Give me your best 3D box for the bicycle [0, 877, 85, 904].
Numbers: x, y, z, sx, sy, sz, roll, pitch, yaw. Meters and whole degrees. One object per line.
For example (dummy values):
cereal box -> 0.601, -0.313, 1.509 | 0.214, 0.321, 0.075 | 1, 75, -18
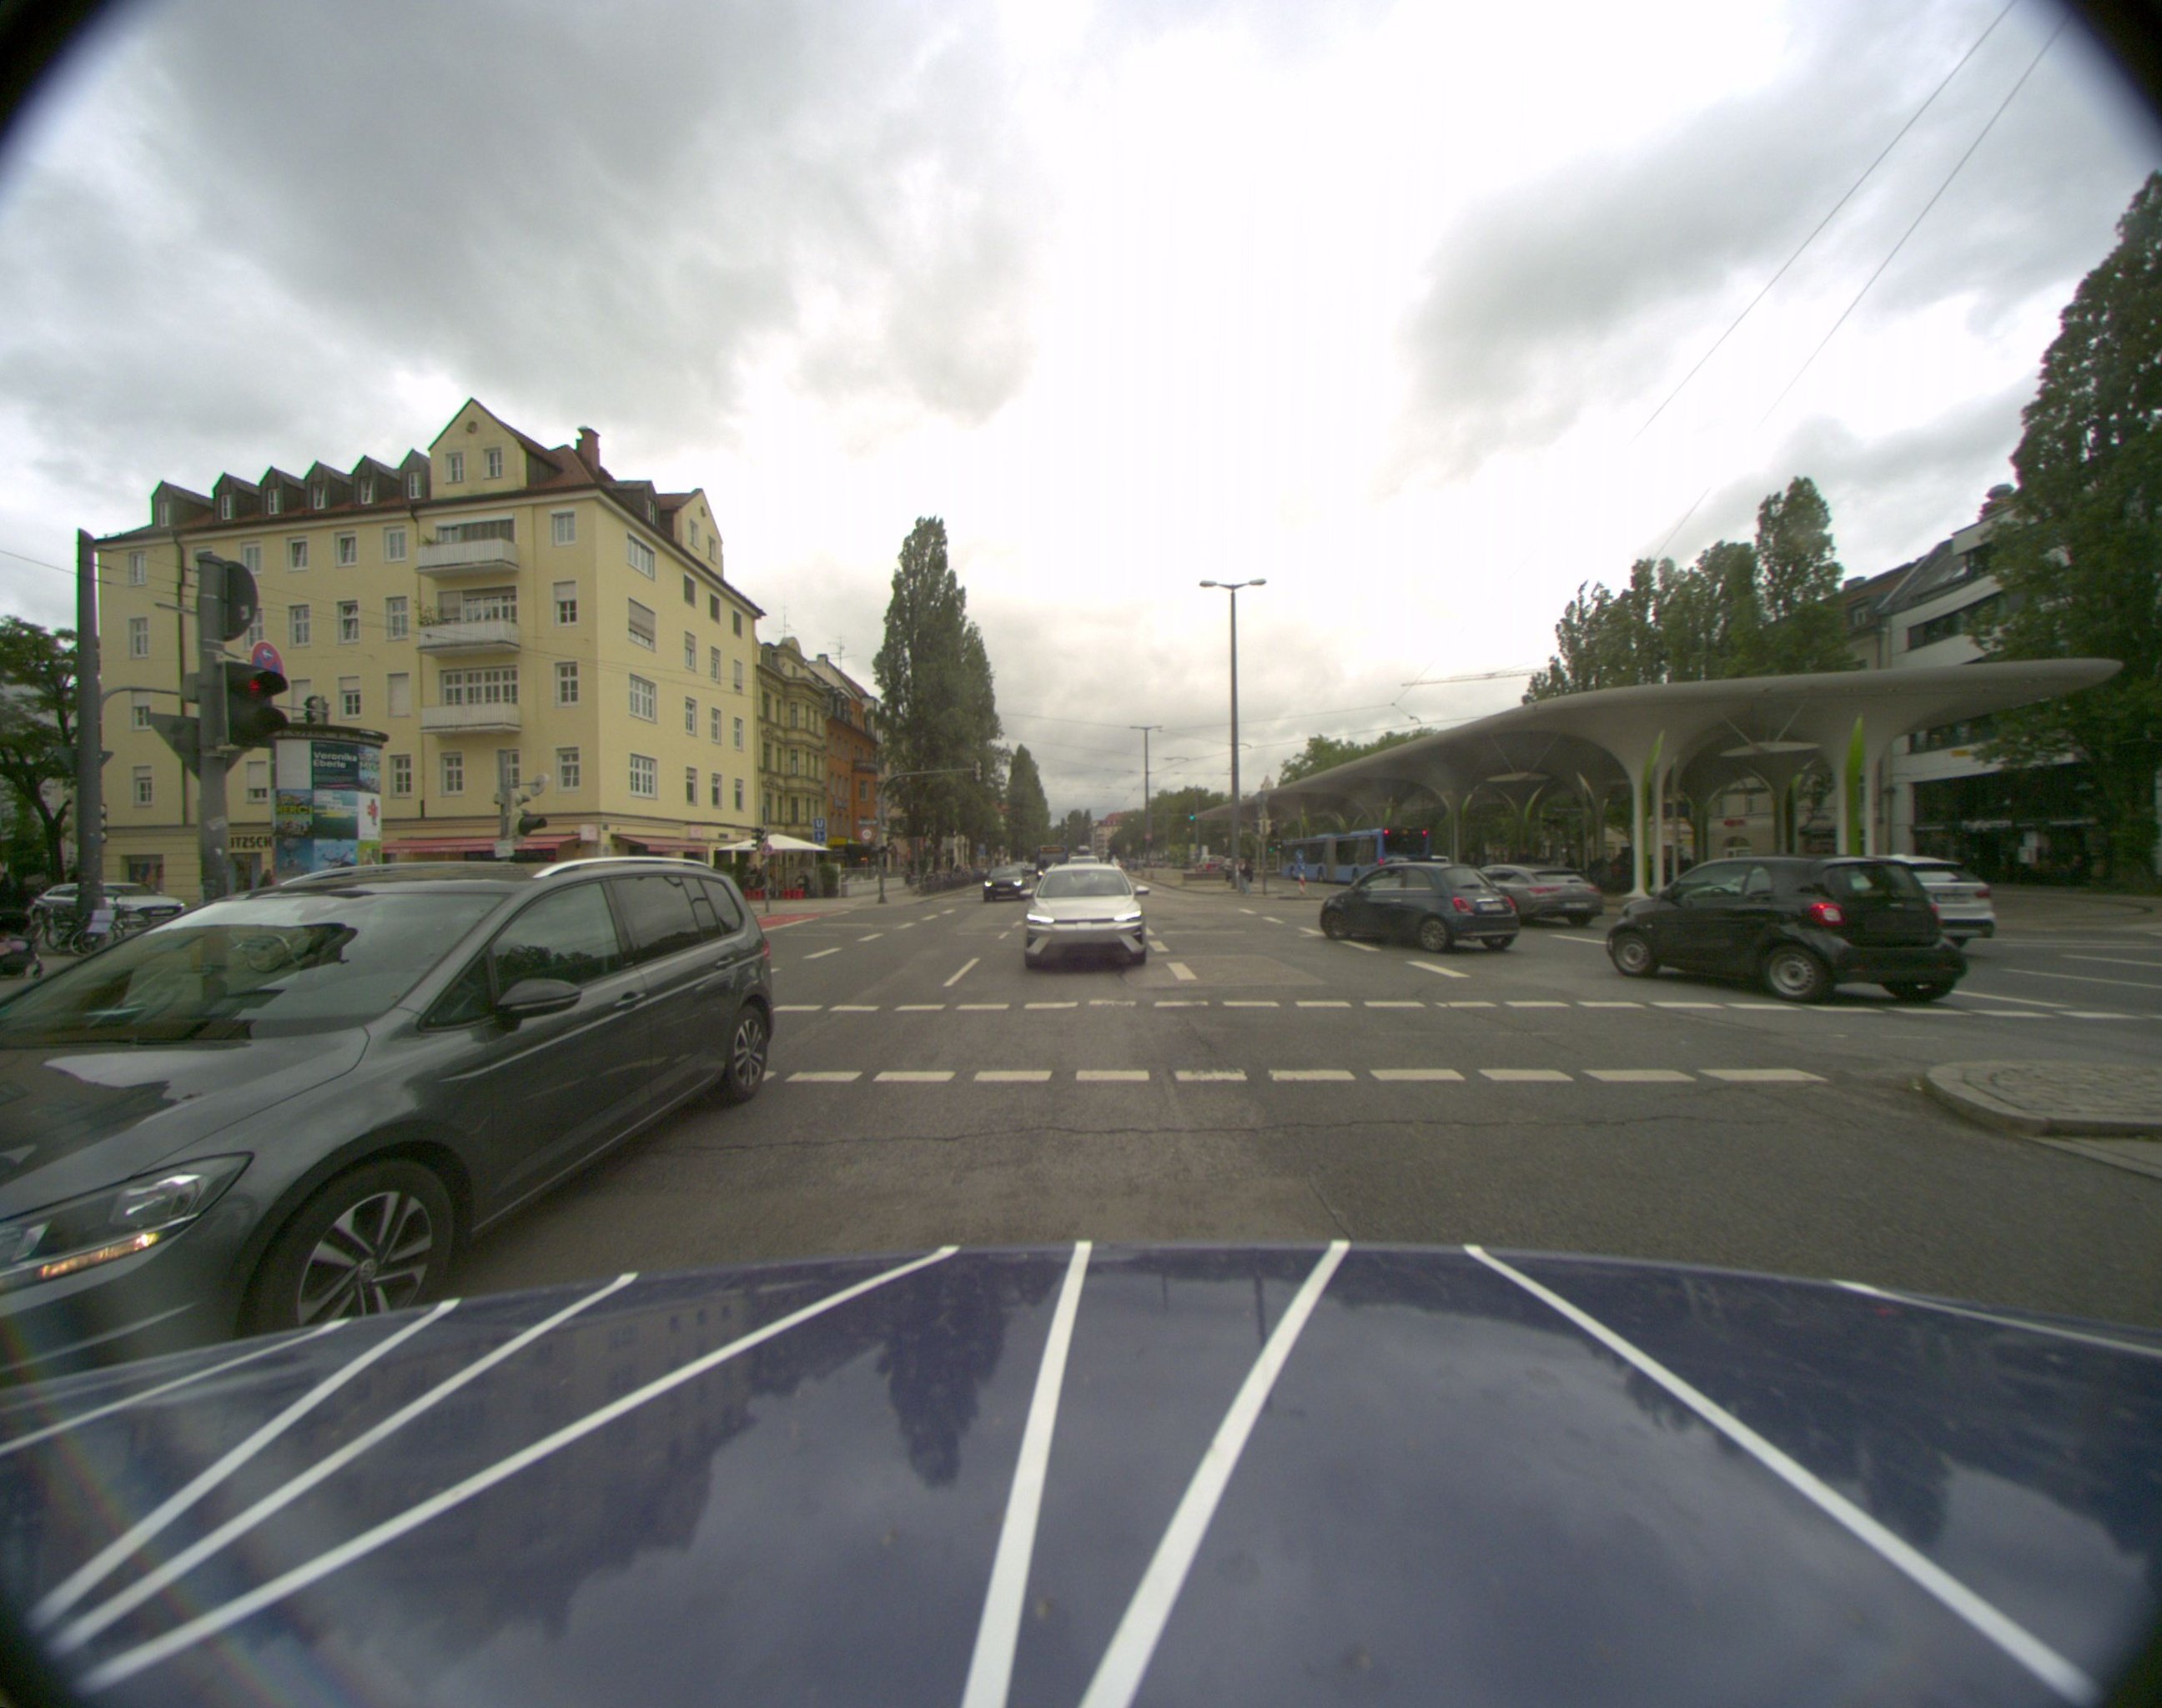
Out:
bicycle -> -52.574, 1.811, 38.449 | 0.754, 1.235, 2.486 | -1, 0, 27

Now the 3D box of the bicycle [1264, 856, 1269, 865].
bicycle -> 23.844, 0.846, 97.663 | 0.479, 1.090, 1.851 | -1, 0, 11

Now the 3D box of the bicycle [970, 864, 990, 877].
bicycle -> -8.267, 1.375, 62.042 | 1.837, 0.990, 0.376 | -3, -1, 38

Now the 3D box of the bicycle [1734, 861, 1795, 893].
bicycle -> 25.921, 0.856, 28.868 | 0.642, 1.118, 2.167 | -1, 0, 9

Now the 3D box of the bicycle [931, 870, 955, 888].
bicycle -> -8.103, 1.459, 44.555 | 1.836, 0.990, 0.349 | 0, 1, 43

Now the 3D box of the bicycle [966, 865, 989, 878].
bicycle -> -8.362, 1.377, 61.337 | 1.838, 0.990, 0.376 | -2, -1, 24

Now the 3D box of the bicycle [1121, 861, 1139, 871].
bicycle -> 6.013, 1.473, 93.309 | 2.234, 1.143, 0.505 | -3, 1, -28

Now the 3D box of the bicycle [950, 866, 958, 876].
bicycle -> -11.663, 1.525, 69.904 | 0.458, 0.887, 1.893 | -1, 0, -1

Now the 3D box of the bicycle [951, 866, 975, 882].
bicycle -> -8.213, 1.407, 52.916 | 1.837, 1.106, 0.468 | -1, 0, 33

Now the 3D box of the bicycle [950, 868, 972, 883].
bicycle -> -8.131, 1.470, 51.440 | 1.836, 0.990, 0.349 | 0, 1, 40

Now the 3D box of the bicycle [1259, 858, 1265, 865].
bicycle -> 23.302, 0.946, 97.774 | 0.479, 0.889, 1.850 | -1, 0, 8

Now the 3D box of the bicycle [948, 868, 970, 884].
bicycle -> -8.156, 1.470, 50.774 | 1.836, 0.990, 0.349 | 0, 1, 40

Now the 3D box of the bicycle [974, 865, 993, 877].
bicycle -> -8.298, 1.422, 64.761 | 1.837, 0.990, 0.376 | -3, -1, 38

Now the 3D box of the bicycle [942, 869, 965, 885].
bicycle -> -8.165, 1.467, 48.709 | 1.836, 0.990, 0.349 | 0, 1, 40

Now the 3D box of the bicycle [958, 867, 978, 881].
bicycle -> -8.176, 1.463, 54.939 | 1.837, 0.989, 0.326 | -3, -1, 45

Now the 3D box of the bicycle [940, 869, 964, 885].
bicycle -> -8.165, 1.466, 48.054 | 1.836, 0.990, 0.349 | 0, 1, 40

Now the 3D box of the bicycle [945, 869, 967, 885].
bicycle -> -8.118, 1.466, 49.367 | 1.837, 0.990, 0.349 | 0, 1, 44

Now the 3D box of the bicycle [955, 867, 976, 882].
bicycle -> -8.241, 1.479, 54.246 | 1.837, 0.990, 0.326 | -3, -1, 40

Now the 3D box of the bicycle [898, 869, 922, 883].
bicycle -> -13.076, 1.700, 58.079 | 1.728, 1.039, 0.387 | -2, -1, -6

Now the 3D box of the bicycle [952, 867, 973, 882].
bicycle -> -8.357, 1.455, 53.671 | 1.837, 0.990, 0.326 | -3, -1, 40

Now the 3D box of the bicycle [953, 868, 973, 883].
bicycle -> -8.086, 1.468, 52.214 | 1.837, 0.990, 0.326 | 0, 0, 45

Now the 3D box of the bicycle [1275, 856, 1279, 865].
bicycle -> 25.171, 0.860, 97.443 | 0.479, 1.090, 1.851 | -1, 0, 14

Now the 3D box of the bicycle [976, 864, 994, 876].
bicycle -> -8.249, 1.378, 65.430 | 1.837, 0.989, 0.376 | -3, -1, 42

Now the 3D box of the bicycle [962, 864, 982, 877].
bicycle -> -8.289, 1.251, 57.717 | 1.837, 0.989, 0.326 | -3, -1, 43

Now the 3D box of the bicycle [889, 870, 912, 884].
bicycle -> -13.992, 1.751, 58.940 | 1.725, 1.039, 0.388 | -2, -1, 11

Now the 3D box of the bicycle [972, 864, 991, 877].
bicycle -> -8.317, 1.379, 63.426 | 1.837, 0.990, 0.376 | -3, -1, 38

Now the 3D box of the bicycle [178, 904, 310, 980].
bicycle -> -13.305, 1.382, 12.098 | 1.572, 1.153, 0.525 | 0, -1, 3

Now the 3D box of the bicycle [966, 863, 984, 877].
bicycle -> -8.259, 1.238, 59.186 | 1.837, 0.989, 0.326 | -3, -1, 43

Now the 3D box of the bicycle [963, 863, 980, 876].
bicycle -> -8.479, 1.211, 58.848 | 0.326, 0.989, 1.837 | -1, -1, -42

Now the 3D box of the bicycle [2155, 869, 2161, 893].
bicycle -> 43.281, 1.047, 29.787 | 1.827, 0.921, 0.450 | -1, 0, -2

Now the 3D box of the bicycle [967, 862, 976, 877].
bicycle -> -9.759, 1.346, 67.816 | 0.424, 1.280, 1.778 | -1, 0, 1

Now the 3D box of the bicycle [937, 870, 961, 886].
bicycle -> -8.083, 1.460, 46.573 | 1.836, 0.990, 0.349 | 0, 1, 40

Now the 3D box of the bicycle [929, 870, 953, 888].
bicycle -> -8.093, 1.457, 43.838 | 1.836, 0.990, 0.349 | 0, 1, 43

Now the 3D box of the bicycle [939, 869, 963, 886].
bicycle -> -8.069, 1.460, 47.246 | 1.836, 0.990, 0.349 | 0, 1, 40

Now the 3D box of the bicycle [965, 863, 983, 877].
bicycle -> -8.178, 1.246, 58.159 | 0.326, 0.989, 1.837 | -1, -1, -43

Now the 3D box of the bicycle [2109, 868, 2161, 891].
bicycle -> 43.391, 1.042, 31.206 | 1.827, 0.921, 0.450 | -1, 0, -2

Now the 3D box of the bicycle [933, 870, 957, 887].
bicycle -> -8.102, 1.460, 45.221 | 1.836, 0.990, 0.349 | 0, 1, 43

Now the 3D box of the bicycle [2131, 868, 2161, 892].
bicycle -> 43.238, 1.050, 30.419 | 1.827, 0.921, 0.450 | -1, 0, -2

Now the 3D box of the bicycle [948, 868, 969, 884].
bicycle -> -8.089, 1.466, 50.085 | 1.837, 0.990, 0.349 | 0, 1, 44

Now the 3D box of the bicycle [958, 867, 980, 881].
bicycle -> -8.152, 1.446, 55.377 | 1.837, 0.990, 0.326 | -3, -1, 37

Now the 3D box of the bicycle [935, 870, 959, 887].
bicycle -> -8.105, 1.461, 45.908 | 1.836, 0.990, 0.349 | 0, 1, 40
